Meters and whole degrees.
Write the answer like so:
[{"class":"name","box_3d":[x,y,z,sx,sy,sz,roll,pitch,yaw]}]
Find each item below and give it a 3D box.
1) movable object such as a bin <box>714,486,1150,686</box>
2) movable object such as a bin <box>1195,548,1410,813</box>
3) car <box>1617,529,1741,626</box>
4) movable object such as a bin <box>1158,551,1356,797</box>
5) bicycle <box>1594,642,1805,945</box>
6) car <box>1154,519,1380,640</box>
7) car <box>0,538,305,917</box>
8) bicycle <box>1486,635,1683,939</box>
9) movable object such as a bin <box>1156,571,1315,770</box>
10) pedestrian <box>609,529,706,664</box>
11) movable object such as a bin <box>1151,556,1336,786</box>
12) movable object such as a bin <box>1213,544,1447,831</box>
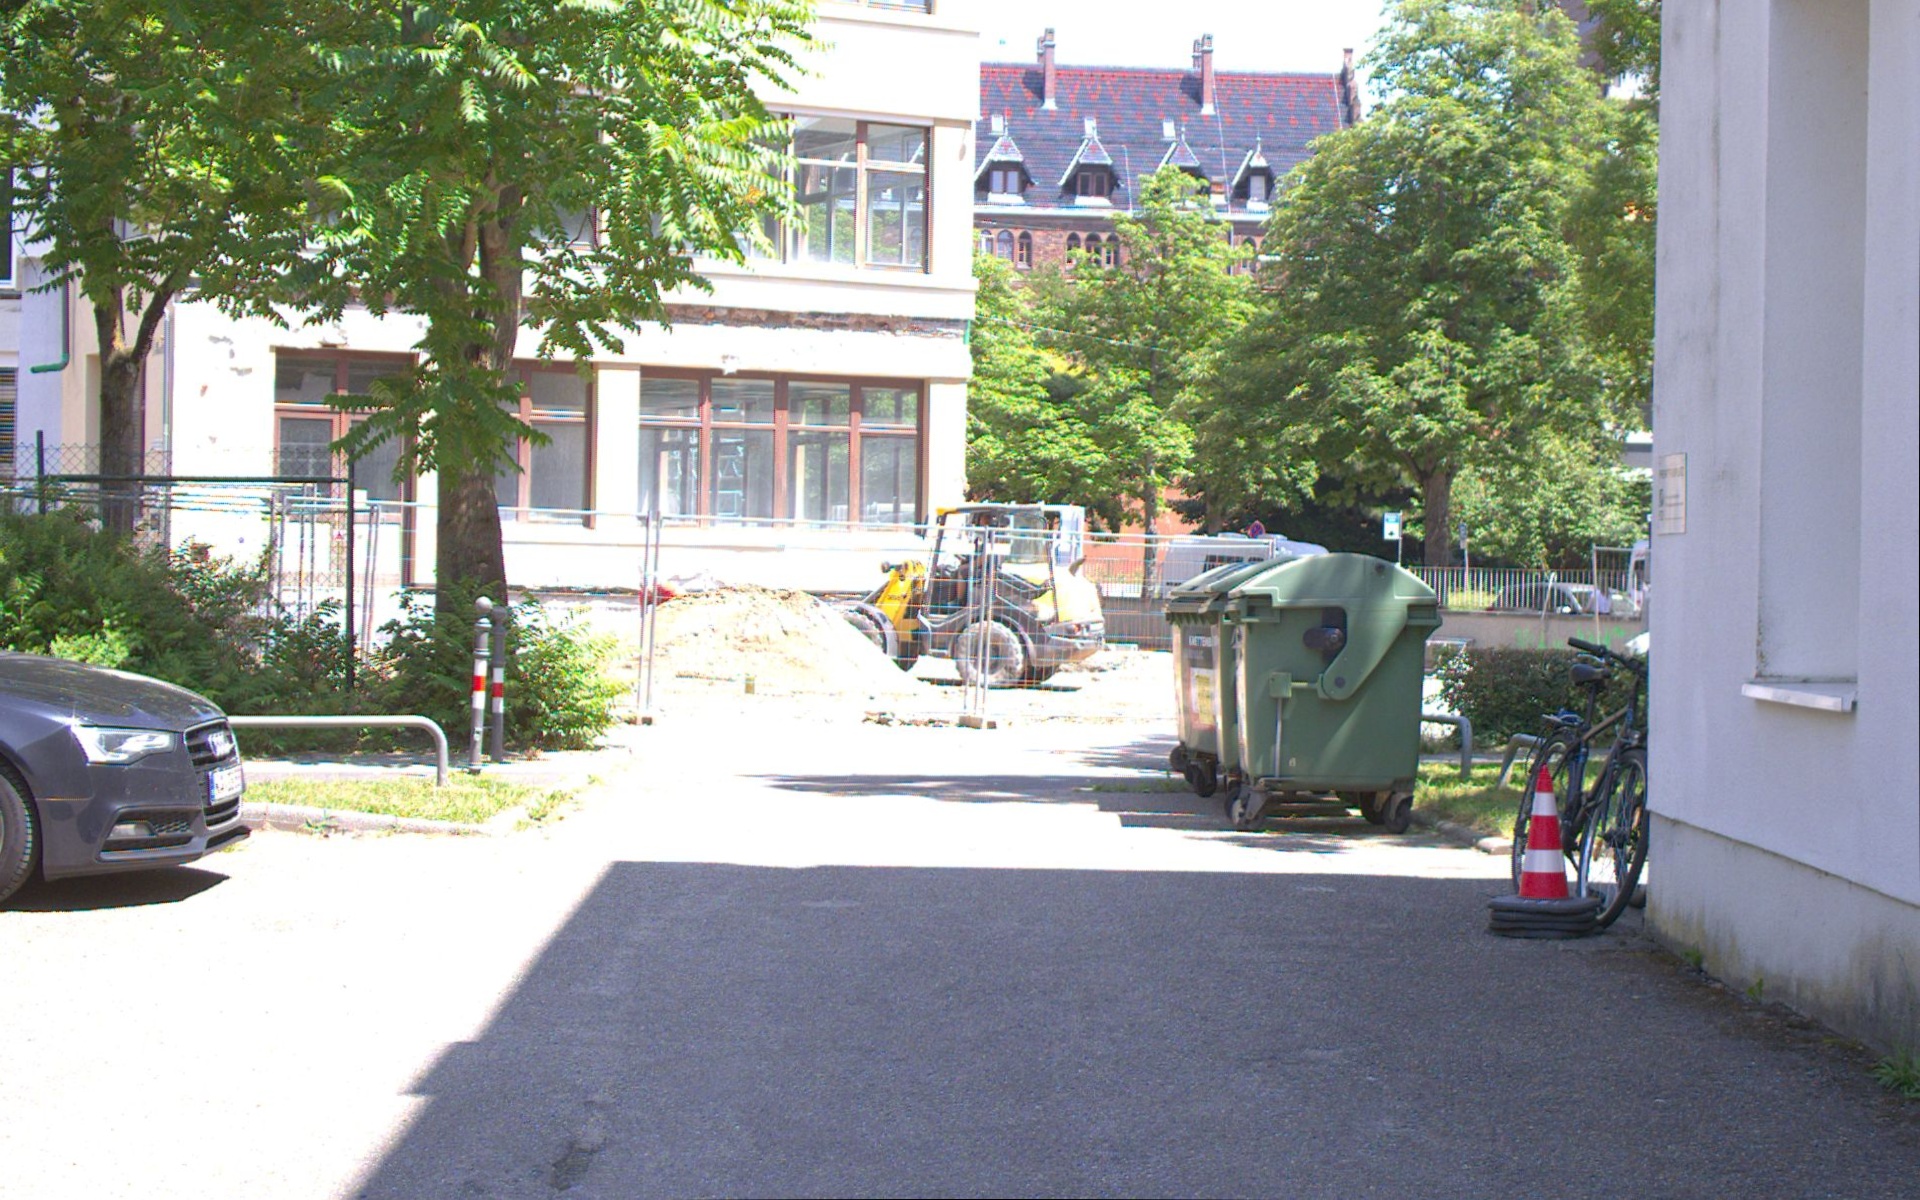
[{"class":"movable object such as a bin","box_3d":[-0.399,-0.213,47.216,5.411,2.456,2.364,3,1,28]},{"class":"movable object such as a bin","box_3d":[1.944,0.444,19.734,1.075,1.453,1.377,1,0,0]},{"class":"car","box_3d":[17.497,-0.520,83.496,2.186,2.250,4.863,1,0,21]},{"class":"movable object such as a bin","box_3d":[1.812,0.439,21.205,1.075,1.453,1.377,1,0,0]},{"class":"bicycle","box_3d":[2.925,0.734,13.727,0.405,1.098,1.826,1,0,-1]},{"class":"car","box_3d":[6.317,-0.432,71.430,1.993,2.408,5.243,1,0,-30]},{"class":"car","box_3d":[-5.035,0.433,13.659,4.429,1.375,2.023,1,0,1]},{"class":"bicycle","box_3d":[2.457,0.703,13.670,0.405,1.098,1.826,1,0,-1]},{"class":"movable object such as a bin","box_3d":[2.081,0.523,26.137,1.075,1.453,1.377,1,0,0]},{"class":"pedestrian","box_3d":[-4.206,-0.051,47.814,0.984,1.840,0.915,1,0,28]},{"class":"movable object such as a bin","box_3d":[1.847,0.452,22.628,1.075,1.453,1.377,1,0,0]},{"class":"movable object such as a bin","box_3d":[1.945,0.446,18.291,1.075,1.453,1.377,1,0,0]}]
